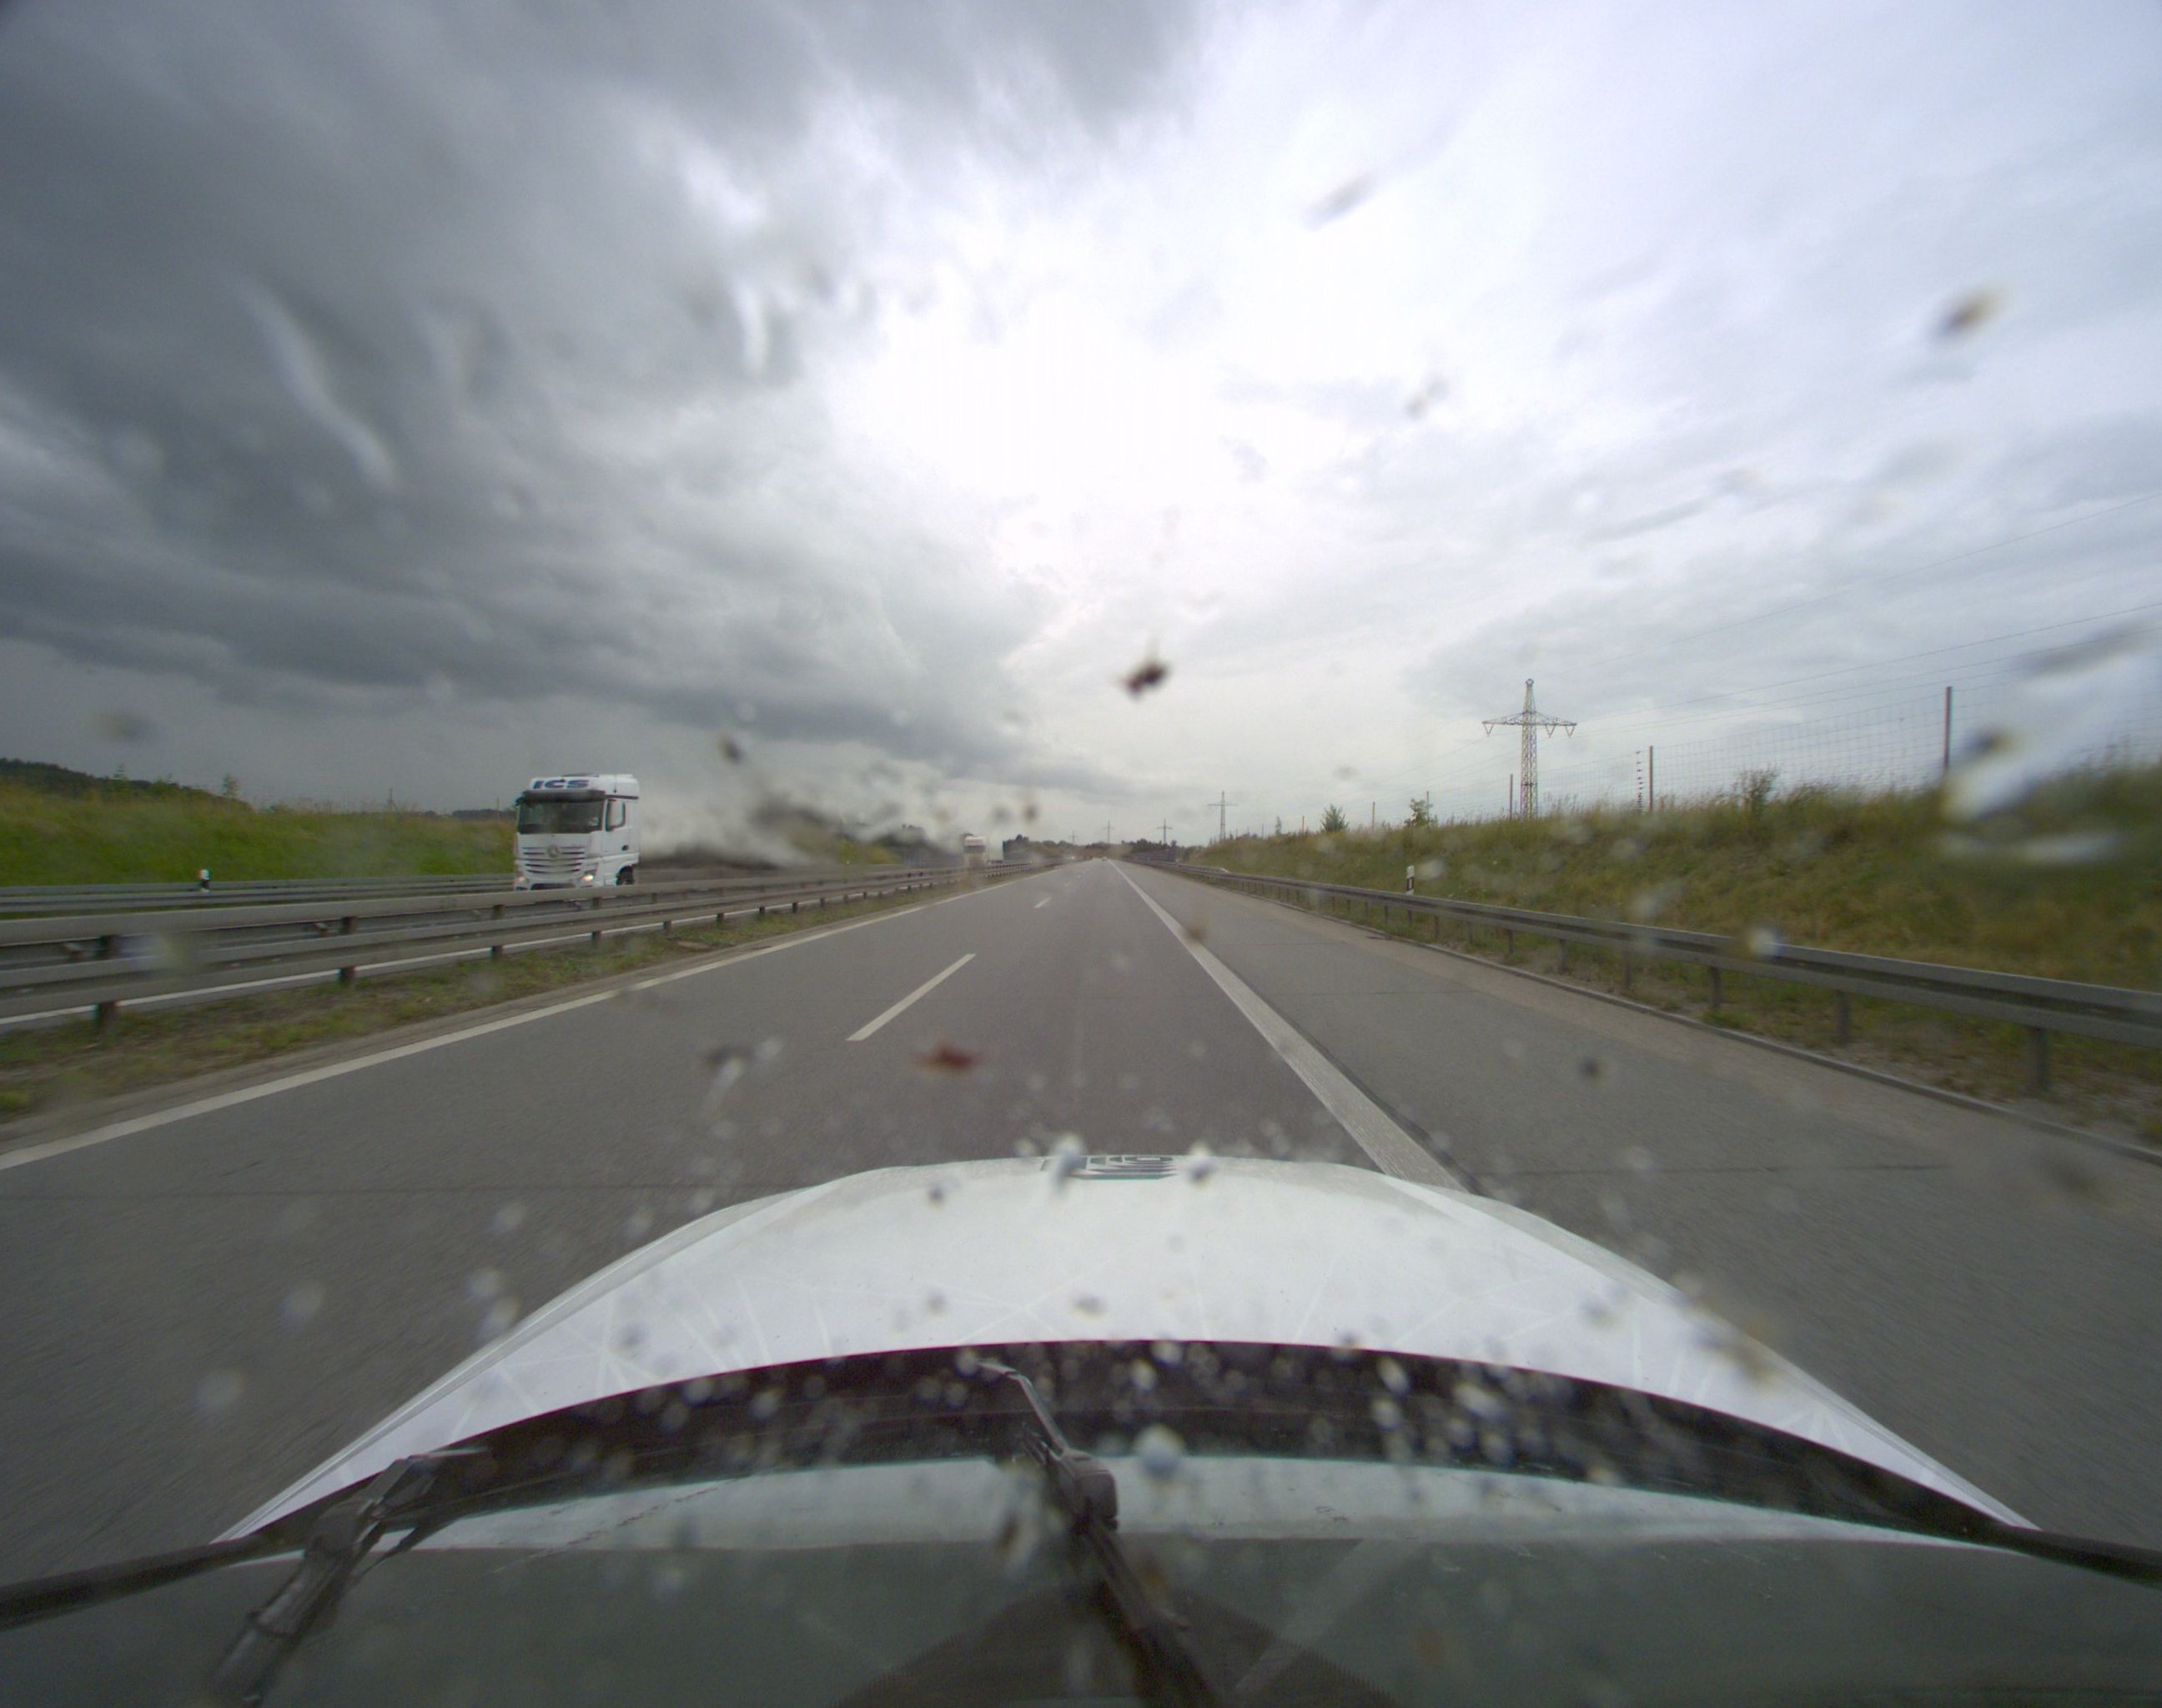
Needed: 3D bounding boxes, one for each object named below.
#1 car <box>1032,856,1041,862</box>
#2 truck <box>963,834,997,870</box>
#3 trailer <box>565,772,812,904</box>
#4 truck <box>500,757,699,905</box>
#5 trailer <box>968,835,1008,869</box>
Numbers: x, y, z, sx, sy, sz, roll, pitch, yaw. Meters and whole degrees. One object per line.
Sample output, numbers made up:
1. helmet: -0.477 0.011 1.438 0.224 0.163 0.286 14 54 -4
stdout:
1. car: -9.476 1.070 173.697 1.625 1.409 4.001 0 0 2
2. truck: -11.446 -0.248 92.751 2.941 3.925 5.520 0 0 2
3. trailer: -14.011 -0.464 31.229 2.580 3.925 13.704 0 0 1
4. truck: -14.149 -0.613 24.504 2.583 3.925 5.588 0 0 1
5. trailer: -11.224 -0.229 100.016 2.906 3.925 14.279 0 0 2
